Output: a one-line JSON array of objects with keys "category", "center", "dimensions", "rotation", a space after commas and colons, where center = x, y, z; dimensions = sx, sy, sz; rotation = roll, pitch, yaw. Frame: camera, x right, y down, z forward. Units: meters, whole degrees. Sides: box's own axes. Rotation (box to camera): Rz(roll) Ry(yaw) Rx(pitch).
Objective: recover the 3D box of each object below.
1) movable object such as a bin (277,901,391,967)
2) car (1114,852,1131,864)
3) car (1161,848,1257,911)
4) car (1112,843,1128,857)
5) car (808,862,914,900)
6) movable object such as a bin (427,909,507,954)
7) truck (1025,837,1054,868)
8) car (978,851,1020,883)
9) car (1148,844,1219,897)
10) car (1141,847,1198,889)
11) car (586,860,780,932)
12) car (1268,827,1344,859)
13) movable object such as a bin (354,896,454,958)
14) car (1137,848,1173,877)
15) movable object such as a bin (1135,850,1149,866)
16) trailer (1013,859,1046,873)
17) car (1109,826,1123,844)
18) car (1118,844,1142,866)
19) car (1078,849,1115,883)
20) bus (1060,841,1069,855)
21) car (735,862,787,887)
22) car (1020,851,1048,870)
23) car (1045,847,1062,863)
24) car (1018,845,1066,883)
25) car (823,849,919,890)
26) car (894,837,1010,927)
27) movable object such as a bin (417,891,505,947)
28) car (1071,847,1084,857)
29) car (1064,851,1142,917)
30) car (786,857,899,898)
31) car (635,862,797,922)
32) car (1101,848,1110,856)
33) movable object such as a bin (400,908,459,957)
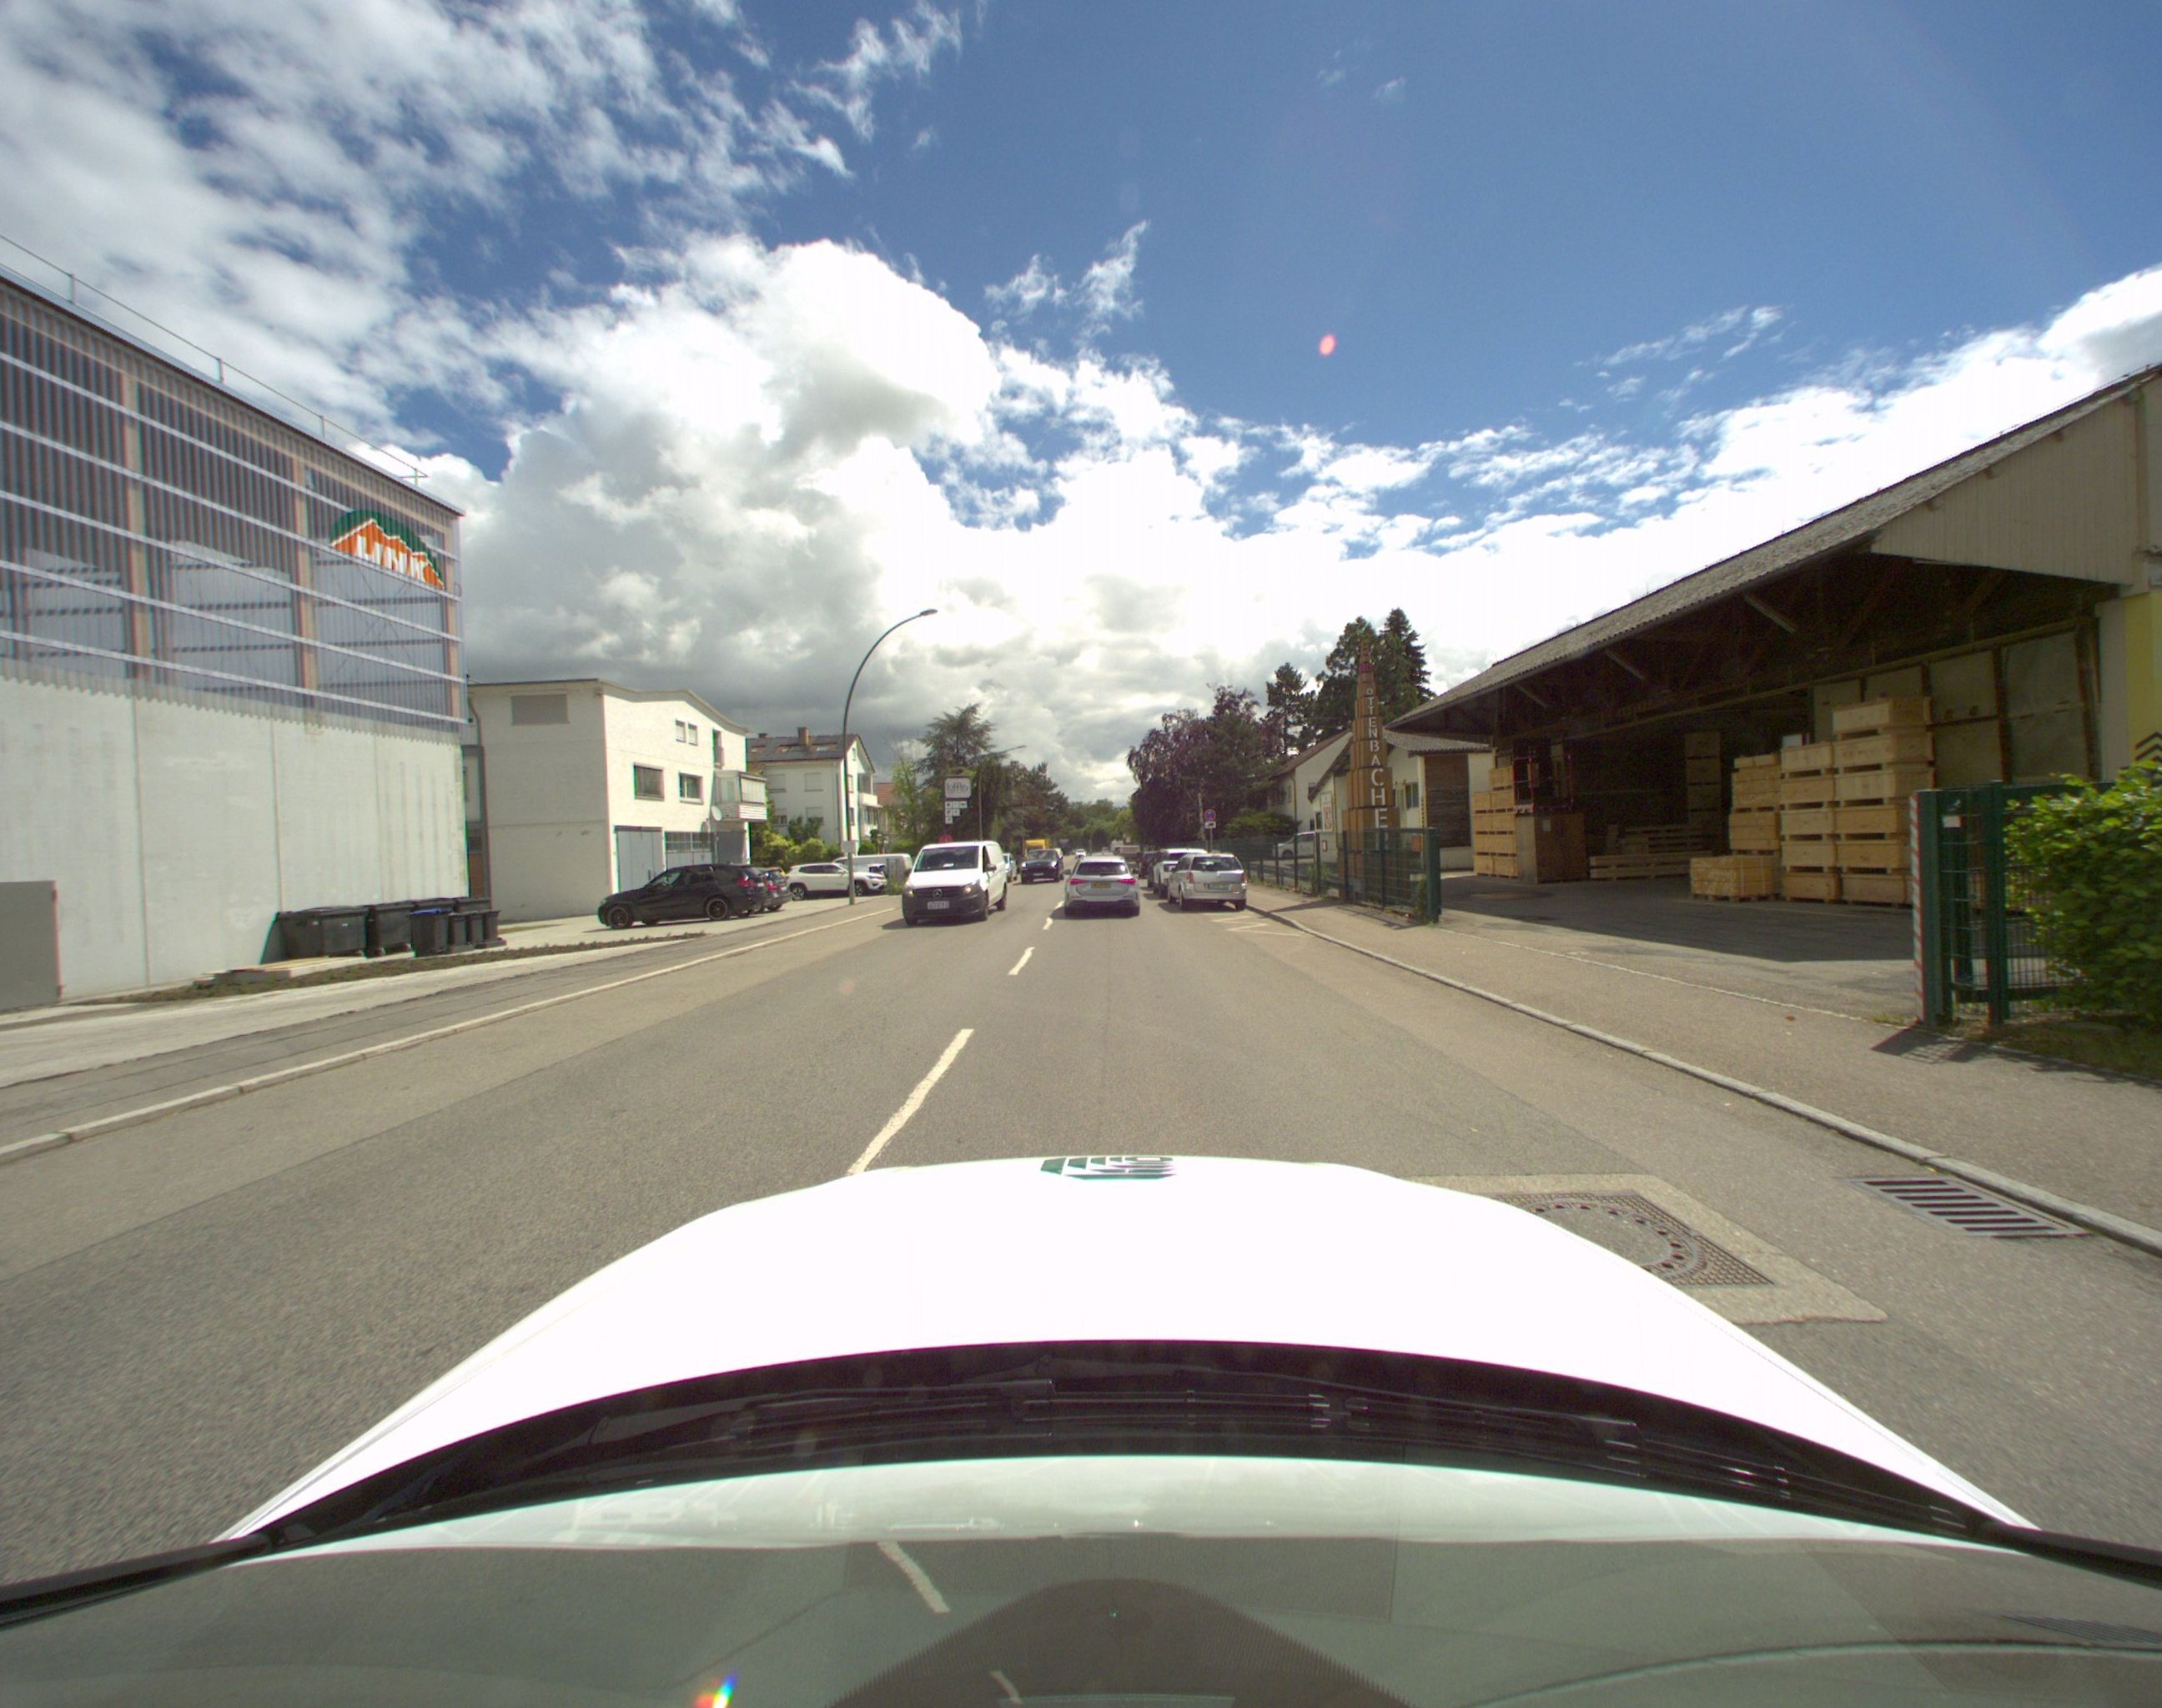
[{"category": "movable object such as a bin", "center": [-17.531, 1.840, 19.187], "dimensions": [0.953, 1.356, 1.820], "rotation": [0, 1, 3]}, {"category": "car", "center": [5.123, 0.471, 101.255], "dimensions": [1.779, 1.484, 4.315], "rotation": [-1, 0, -1]}, {"category": "car", "center": [3.373, 0.616, 22.272], "dimensions": [1.787, 1.450, 4.361], "rotation": [-3, 1, -1]}, {"category": "car", "center": [5.074, -0.518, 106.192], "dimensions": [1.779, 1.715, 4.315], "rotation": [-1, 0, -1]}, {"category": "car", "center": [-10.115, 1.258, 37.653], "dimensions": [4.266, 1.567, 1.990], "rotation": [-2, -3, -1]}, {"category": "movable object such as a bin", "center": [-15.220, 1.895, 20.234], "dimensions": [0.740, 0.919, 1.520], "rotation": [-3, 0, 3]}, {"category": "truck", "center": [-4.024, -0.192, 79.646], "dimensions": [2.067, 2.814, 7.082], "rotation": [-3, 1, 2]}, {"category": "car", "center": [-4.582, 0.713, 46.110], "dimensions": [1.785, 1.603, 4.364], "rotation": [-3, 1, 1]}, {"category": "car", "center": [3.396, 0.494, 27.712], "dimensions": [1.786, 1.552, 4.573], "rotation": [-3, 1, 0]}, {"category": "car", "center": [3.593, 0.522, 33.680], "dimensions": [1.685, 1.552, 4.082], "rotation": [-2, 0, -2]}, {"category": "car", "center": [-11.875, 1.223, 24.607], "dimensions": [4.616, 1.632, 2.196], "rotation": [-5, 1, -3]}, {"category": "car", "center": [16.310, -0.789, 59.195], "dimensions": [4.995, 1.929, 2.002], "rotation": [-4, 0, 4]}, {"category": "movable object such as a bin", "center": [-17.434, 1.850, 21.037], "dimensions": [0.953, 1.356, 1.820], "rotation": [-3, 0, 3]}, {"category": "car", "center": [3.994, 0.442, 44.633], "dimensions": [1.683, 1.450, 3.850], "rotation": [-2, 0, 1]}, {"category": "movable object such as a bin", "center": [4.905, 0.285, 65.700], "dimensions": [1.080, 1.271, 1.380], "rotation": [0, 1, 1]}, {"category": "trailer", "center": [-4.008, 0.940, 64.487], "dimensions": [2.221, 0.925, 5.947], "rotation": [-2, 1, 0]}, {"category": "car", "center": [5.071, -2.774, 118.781], "dimensions": [1.779, 2.518, 4.315], "rotation": [-1, 0, -1]}, {"category": "car", "center": [4.830, 0.079, 81.215], "dimensions": [2.136, 1.984, 5.263], "rotation": [-2, 0, 1]}, {"category": "car", "center": [0.740, 0.580, 41.854], "dimensions": [1.750, 1.558, 3.999], "rotation": [-2, 1, -1]}, {"category": "bus", "center": [-4.224, -1.601, 205.531], "dimensions": [1.990, 3.364, 6.972], "rotation": [0, 1, -4]}, {"category": "car", "center": [-22.965, 1.454, 58.635], "dimensions": [1.988, 1.544, 4.375], "rotation": [-3, 1, -1]}, {"category": "car", "center": [-4.063, 0.521, 70.482], "dimensions": [2.068, 1.477, 4.456], "rotation": [-3, 1, 0]}, {"category": "car", "center": [-3.564, 0.069, 107.493], "dimensions": [1.927, 1.918, 4.364], "rotation": [-3, 1, 1]}, {"category": "car", "center": [-1.967, 0.472, 42.068], "dimensions": [1.986, 1.733, 4.551], "rotation": [-3, 1, 2]}, {"category": "car", "center": [-10.485, 0.821, 40.888], "dimensions": [4.266, 1.836, 1.990], "rotation": [-2, -3, -1]}, {"category": "car", "center": [-3.053, 0.583, 20.457], "dimensions": [1.987, 1.888, 5.117], "rotation": [-2, 1, 0]}, {"category": "movable object such as a bin", "center": [-17.384, 1.805, 22.899], "dimensions": [0.953, 1.356, 1.820], "rotation": [-3, 0, 3]}, {"category": "car", "center": [-0.575, -0.329, 134.625], "dimensions": [1.927, 1.492, 4.364], "rotation": [-3, 1, 1]}, {"category": "car", "center": [0.478, 0.690, 20.912], "dimensions": [1.779, 1.484, 4.315], "rotation": [-1, 0, -1]}, {"category": "car", "center": [-10.344, 1.051, 35.502], "dimensions": [4.264, 1.567, 1.991], "rotation": [-2, -3, 1]}, {"category": "car", "center": [-12.100, 1.244, 27.209], "dimensions": [4.451, 1.505, 1.824], "rotation": [-5, 1, -3]}, {"category": "car", "center": [5.203, -0.495, 175.153], "dimensions": [1.750, 1.558, 4.000], "rotation": [-2, 1, 0]}, {"category": "movable object such as a bin", "center": [-15.272, 1.833, 19.115], "dimensions": [0.740, 1.030, 0.712], "rotation": [-3, 0, 2]}]
